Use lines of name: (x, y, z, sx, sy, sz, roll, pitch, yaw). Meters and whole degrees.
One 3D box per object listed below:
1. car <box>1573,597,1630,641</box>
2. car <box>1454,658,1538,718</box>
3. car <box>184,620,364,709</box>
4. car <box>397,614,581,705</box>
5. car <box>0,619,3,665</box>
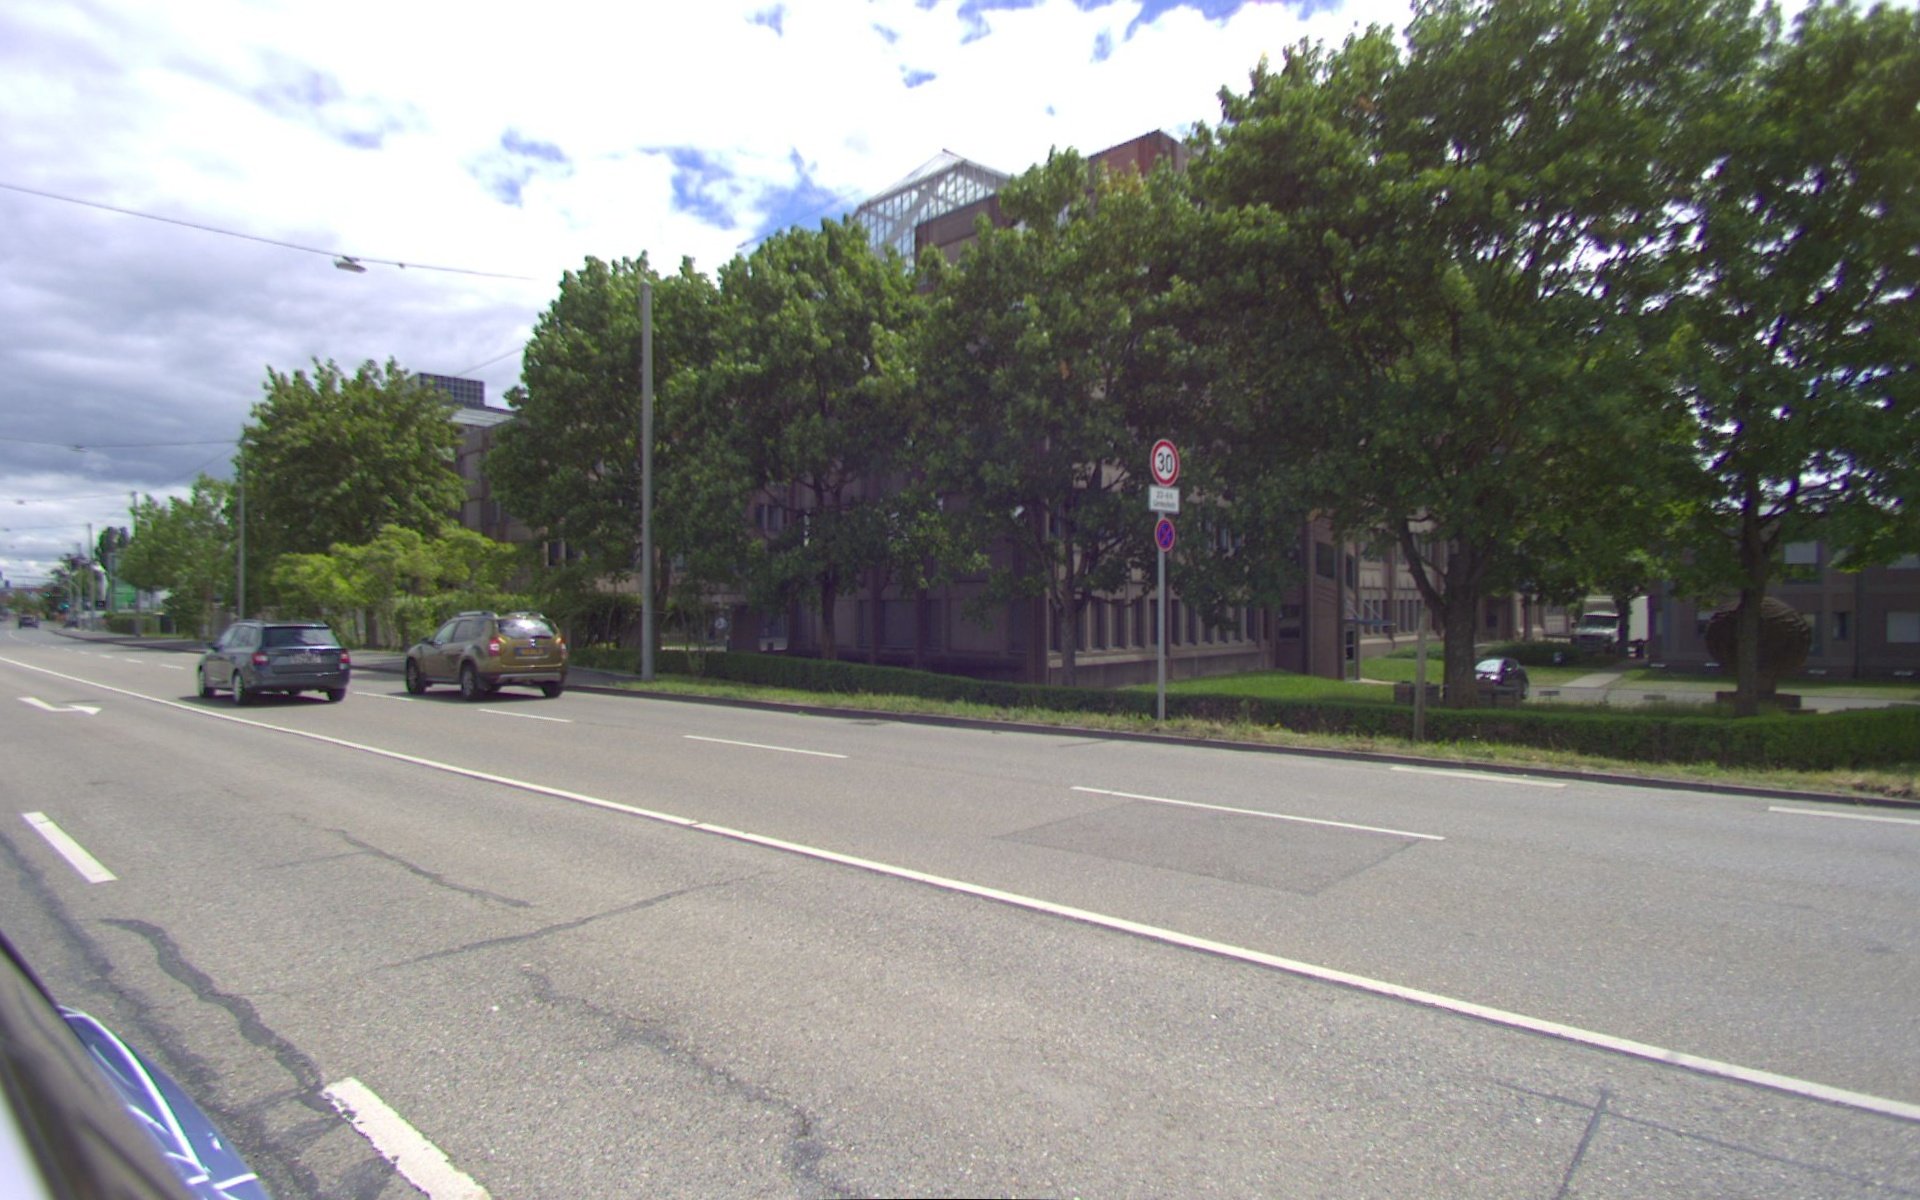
car: (35.050, 1.013, 55.257, 1.999, 2.259, 3.945, -1, 0, 41)
car: (13.519, 2.158, 25.456, 1.531, 1.214, 3.138, -1, 0, 34)
car: (-12.700, 1.106, 18.653, 3.998, 1.465, 1.777, -1, -2, 41)
car: (-9.372, 1.090, 19.997, 3.999, 1.608, 1.873, -1, -1, 42)
car: (-32.640, 1.381, 32.919, 3.999, 1.453, 1.869, -1, -1, 42)
